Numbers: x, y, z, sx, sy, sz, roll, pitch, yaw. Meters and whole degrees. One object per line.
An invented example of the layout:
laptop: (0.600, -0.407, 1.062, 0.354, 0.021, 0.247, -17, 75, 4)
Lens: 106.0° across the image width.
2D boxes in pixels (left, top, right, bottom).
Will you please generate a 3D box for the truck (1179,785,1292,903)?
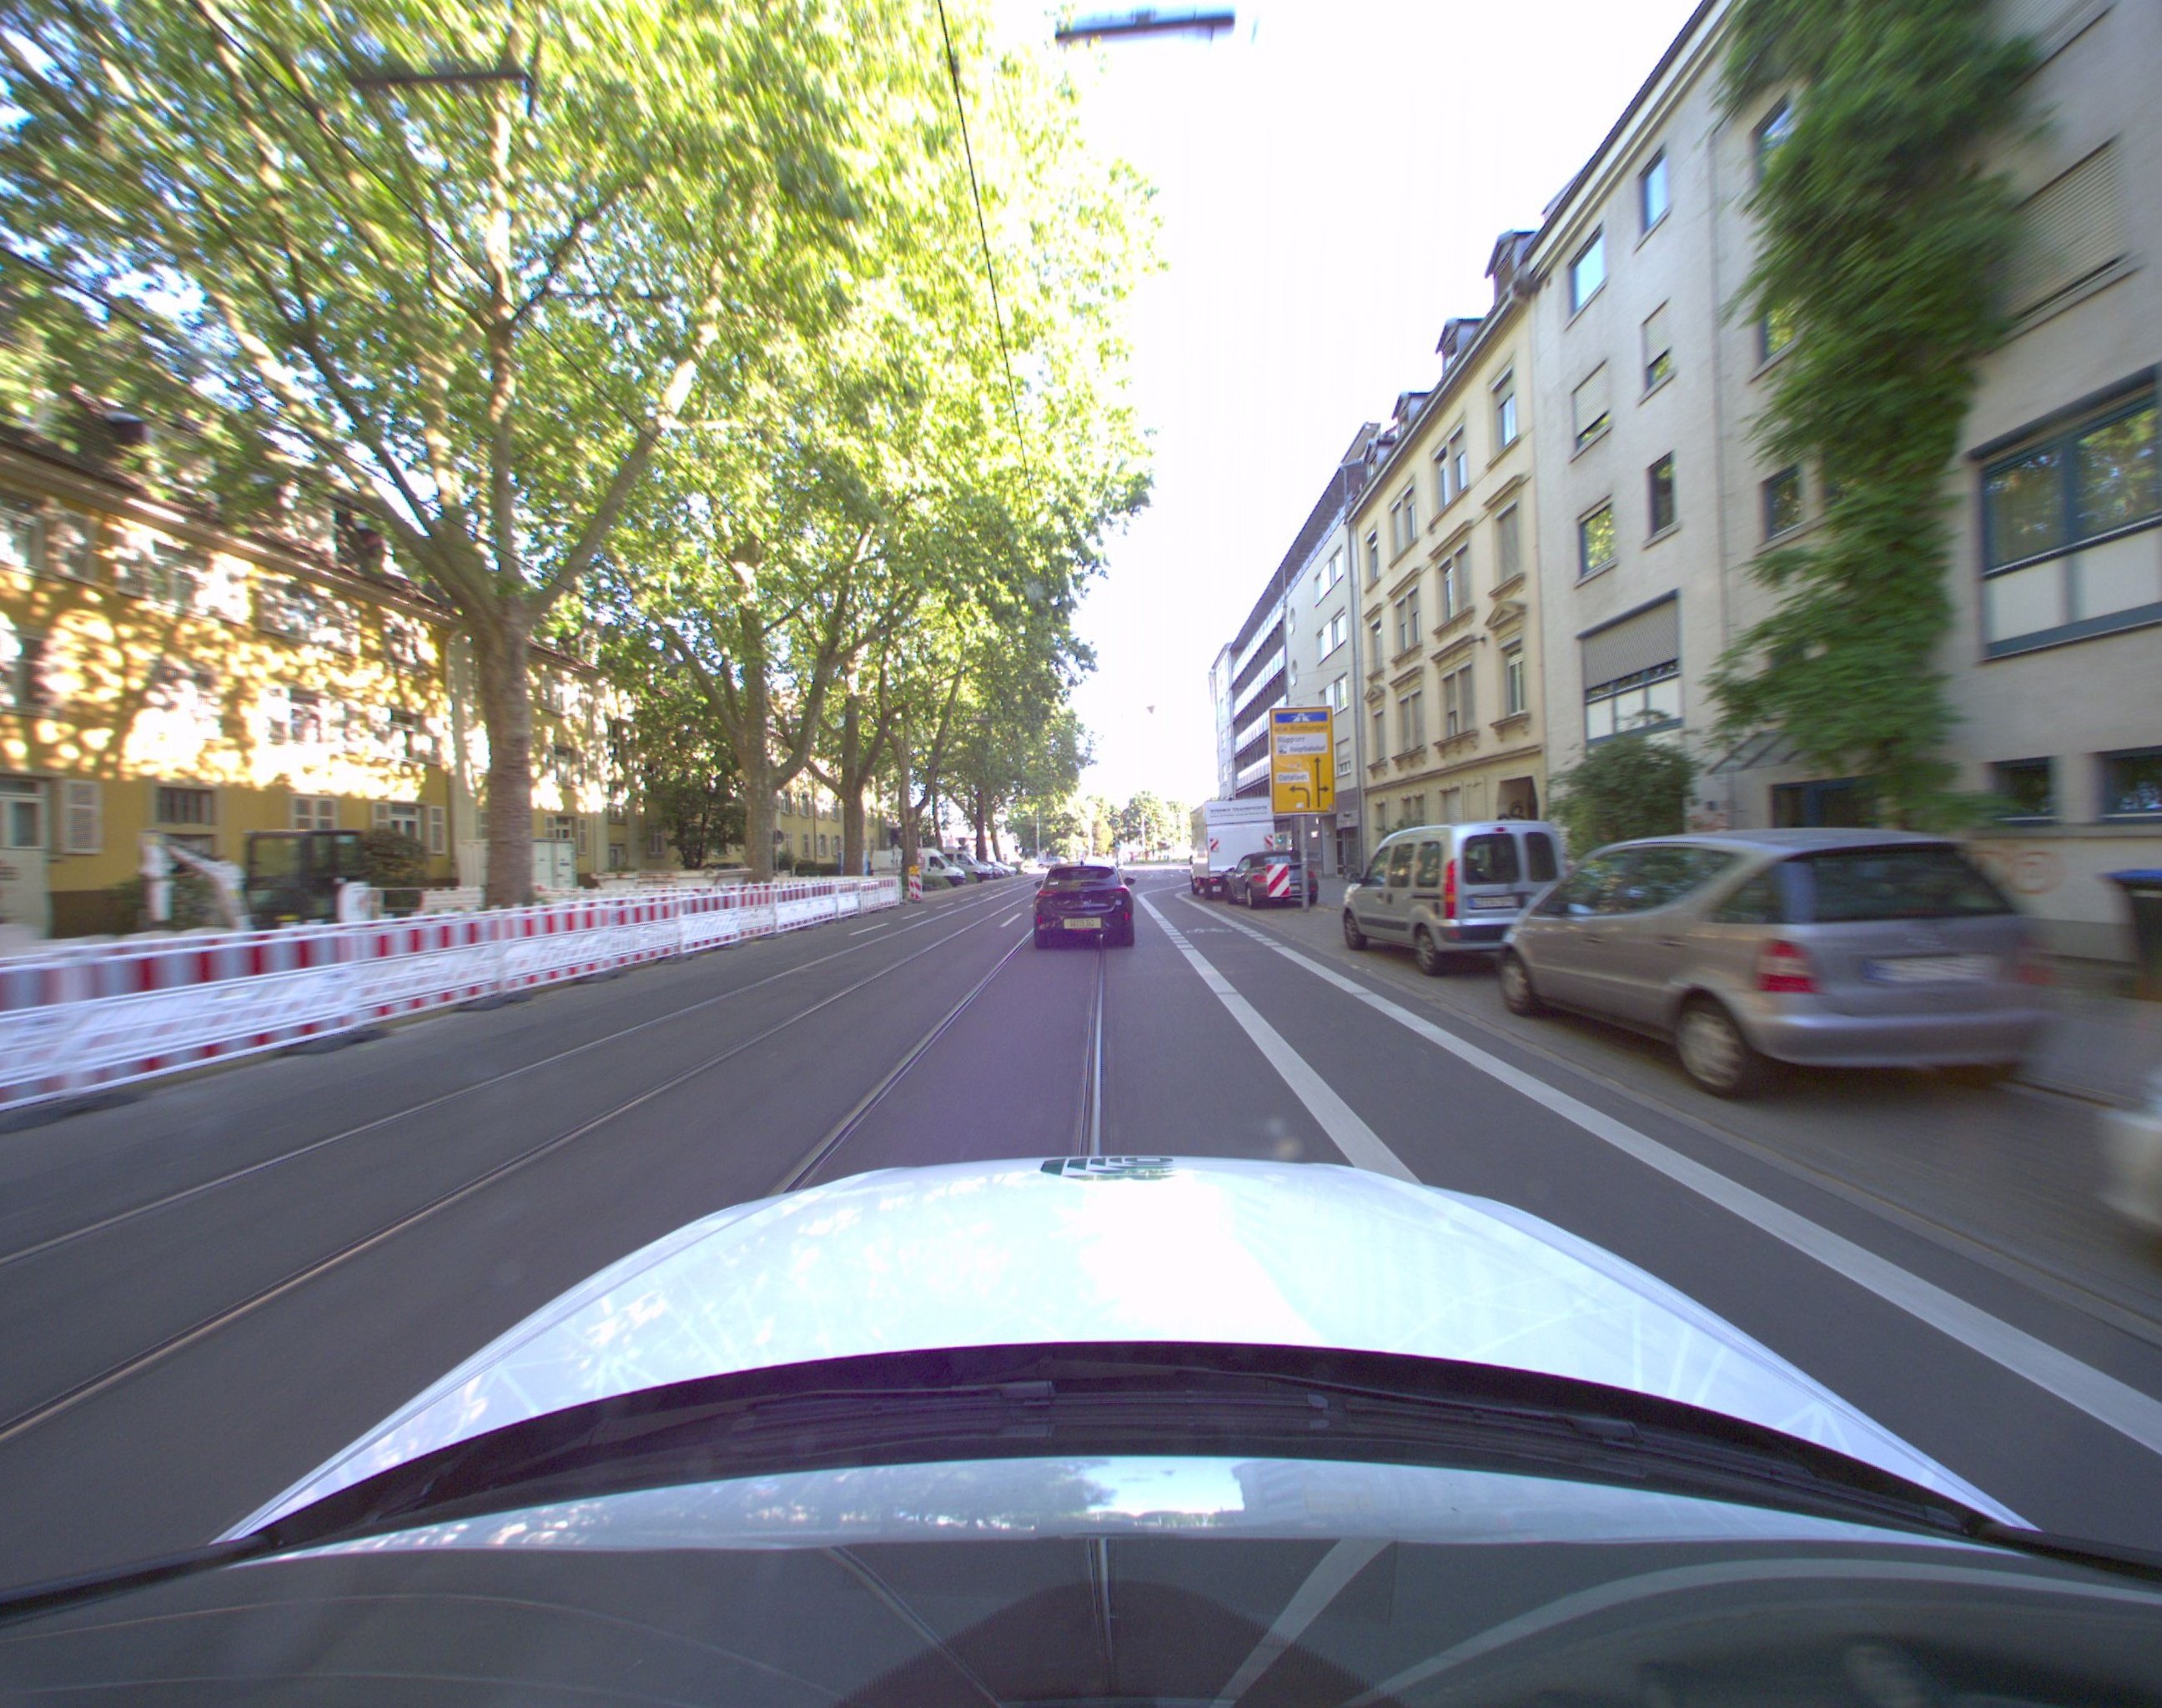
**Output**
truck: (5.083, -0.281, 28.087, 2.528, 3.338, 7.199, -5, 0, 2)

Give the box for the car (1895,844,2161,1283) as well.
car: (4.359, 0.686, 1.169, 1.653, 1.399, 4.741, -4, 0, 1)

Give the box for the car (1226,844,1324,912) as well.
car: (5.147, 0.599, 22.138, 1.724, 1.557, 4.154, -5, 0, 2)

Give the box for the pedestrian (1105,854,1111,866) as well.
pedestrian: (4.148, 0.949, 125.428, 0.651, 1.932, 0.613, -2, -1, 33)

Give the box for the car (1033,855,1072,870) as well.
car: (-3.820, 1.160, 108.233, 4.678, 1.695, 2.013, -4, 0, 31)

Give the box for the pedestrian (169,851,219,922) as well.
pedestrian: (-21.107, 0.766, 19.376, 0.663, 1.656, 0.677, -3, 0, 34)

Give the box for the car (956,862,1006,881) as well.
car: (-8.460, 1.511, 69.100, 3.971, 1.515, 1.651, -1, -1, 2)

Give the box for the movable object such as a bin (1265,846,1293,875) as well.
movable object such as a bin: (10.797, 0.359, 44.396, 1.106, 1.484, 1.388, -4, -1, 2)

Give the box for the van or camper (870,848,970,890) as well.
van or camper: (-9.713, 0.893, 49.501, 5.475, 2.379, 2.272, -1, -1, 5)

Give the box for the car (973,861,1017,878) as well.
car: (-8.214, 1.466, 78.385, 3.971, 1.515, 1.651, -1, -1, 2)

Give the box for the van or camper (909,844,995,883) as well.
van or camper: (-9.261, 0.679, 58.847, 5.702, 2.644, 2.270, -1, -1, 2)

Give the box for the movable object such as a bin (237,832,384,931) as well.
movable object such as a bin: (-13.611, 0.461, 14.458, 1.093, 1.645, 1.560, -1, -1, 2)

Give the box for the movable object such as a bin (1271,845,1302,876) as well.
movable object such as a bin: (10.726, 0.348, 42.642, 1.182, 1.484, 1.596, -4, -1, 2)

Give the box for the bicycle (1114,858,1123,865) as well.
bicycle: (5.479, 1.060, 118.554, 0.782, 0.992, 2.254, -1, 0, 18)

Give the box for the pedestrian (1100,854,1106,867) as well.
pedestrian: (3.357, 1.011, 125.209, 0.610, 1.853, 0.587, -2, -1, 42)

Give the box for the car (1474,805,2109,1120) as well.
car: (4.620, 0.571, 6.107, 1.653, 1.580, 3.591, -3, 0, 2)

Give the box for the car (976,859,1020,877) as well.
car: (-8.205, 1.370, 81.202, 4.157, 1.671, 1.963, -2, 0, -2)

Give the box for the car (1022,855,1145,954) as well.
car: (0.191, 0.794, 14.759, 1.772, 1.496, 4.007, -2, 0, 6)

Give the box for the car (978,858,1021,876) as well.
car: (-8.313, 1.362, 83.719, 4.157, 1.671, 1.963, -2, 0, -2)

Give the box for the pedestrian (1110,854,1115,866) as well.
pedestrian: (4.897, 0.992, 126.847, 0.584, 1.853, 0.613, -1, -1, -24)

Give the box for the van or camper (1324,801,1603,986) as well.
van or camper: (4.732, 0.417, 10.836, 1.663, 1.882, 4.210, -3, 0, 0)

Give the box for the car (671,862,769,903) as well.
car: (-15.396, 1.180, 35.033, 1.780, 1.571, 4.529, -1, 0, 6)

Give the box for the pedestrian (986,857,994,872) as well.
pedestrian: (-13.435, 1.547, 120.401, 0.824, 2.220, 0.890, -1, -1, -33)
